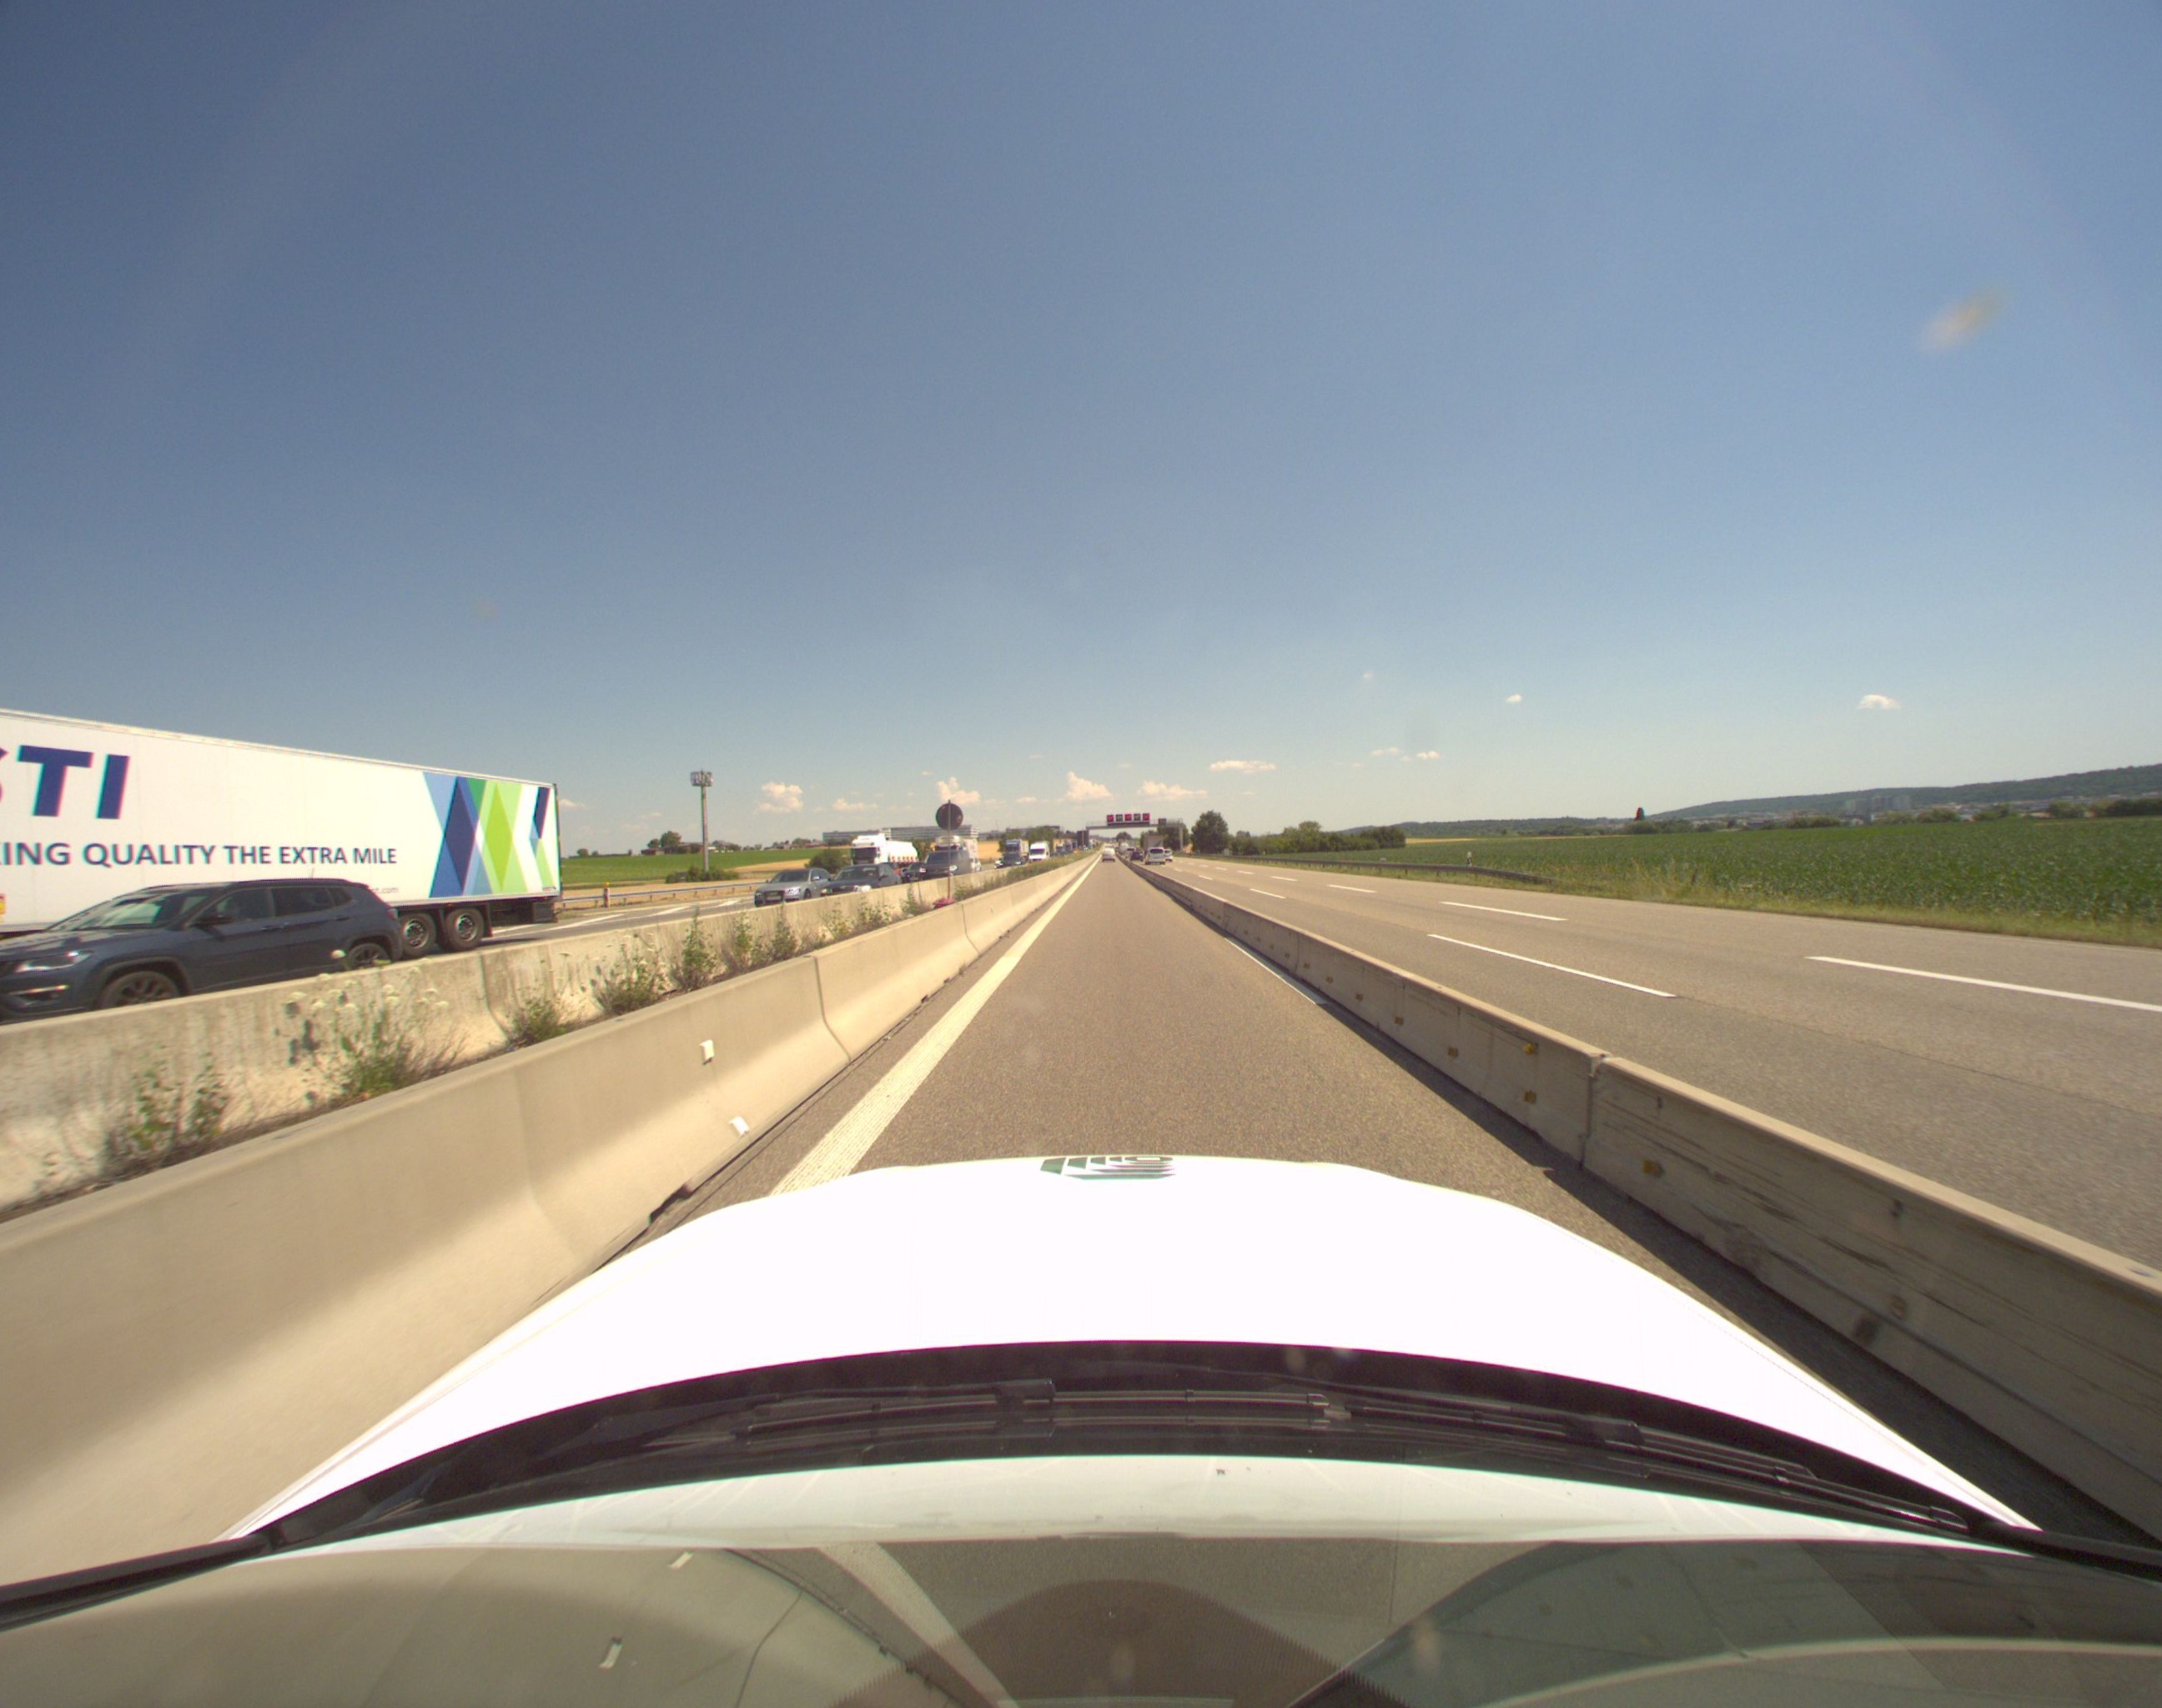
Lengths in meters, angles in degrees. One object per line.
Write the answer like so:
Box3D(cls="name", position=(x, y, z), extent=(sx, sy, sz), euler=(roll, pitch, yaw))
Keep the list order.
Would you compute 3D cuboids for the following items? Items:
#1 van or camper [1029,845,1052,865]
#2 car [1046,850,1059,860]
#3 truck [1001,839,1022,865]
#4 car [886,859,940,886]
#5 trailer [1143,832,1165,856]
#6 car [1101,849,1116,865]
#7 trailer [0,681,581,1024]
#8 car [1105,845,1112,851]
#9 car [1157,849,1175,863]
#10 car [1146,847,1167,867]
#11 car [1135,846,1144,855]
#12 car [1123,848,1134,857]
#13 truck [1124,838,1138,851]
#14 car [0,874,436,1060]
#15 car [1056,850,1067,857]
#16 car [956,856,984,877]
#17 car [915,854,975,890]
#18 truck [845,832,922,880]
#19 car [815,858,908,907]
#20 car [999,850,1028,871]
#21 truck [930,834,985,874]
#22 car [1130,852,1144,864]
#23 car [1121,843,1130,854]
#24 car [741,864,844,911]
Box3D(cls="van or camper", position=(-4.583, 0.081, 92.536), extent=(2.028, 2.221, 7.210), euler=(-1, 0, 1))
Box3D(cls="car", position=(-4.476, 0.084, 127.856), extent=(1.592, 1.469, 4.534), euler=(-2, 0, 1))
Box3D(cls="truck", position=(-11.525, -0.414, 135.112), extent=(2.800, 4.128, 4.843), euler=(-2, 0, 1))
Box3D(cls="car", position=(-9.981, 1.087, 48.772), extent=(2.006, 1.386, 5.087), euler=(-2, 0, 1))
Box3D(cls="trailer", position=(12.515, -1.604, 140.345), extent=(3.265, 3.967, 9.116), euler=(-1, 0, 2))
Box3D(cls="car", position=(3.723, 0.370, 109.375), extent=(1.986, 2.014, 4.001), euler=(-1, 0, 2))
Box3D(cls="trailer", position=(-15.032, 0.046, 15.112), extent=(2.882, 4.375, 12.998), euler=(-4, 0, 2))
Box3D(cls="car", position=(8.333, -1.772, 248.274), extent=(1.986, 1.835, 4.002), euler=(-1, 0, 2))
Box3D(cls="car", position=(11.101, 0.308, 106.879), extent=(1.986, 1.794, 4.001), euler=(-1, 0, 2))
Box3D(cls="car", position=(8.165, 0.362, 88.735), extent=(1.986, 2.120, 4.001), euler=(-1, 0, 2))
Box3D(cls="car", position=(14.083, -0.825, 195.494), extent=(1.986, 2.014, 4.001), euler=(-1, 0, 2))
Box3D(cls="car", position=(8.501, -0.278, 146.143), extent=(1.767, 1.447, 4.001), euler=(-1, 0, 2))
Box3D(cls="truck", position=(16.253, -3.133, 265.320), extent=(3.802, 3.904, 9.583), euler=(-2, 0, 1))
Box3D(cls="car", position=(-10.835, 1.165, 10.184), extent=(1.649, 1.651, 4.667), euler=(-1, 0, 2))
Box3D(cls="car", position=(-3.652, -0.099, 152.811), extent=(1.772, 1.335, 4.931), euler=(-1, -1, 1))
Box3D(cls="car", position=(-9.227, 0.988, 68.034), extent=(1.552, 1.622, 4.048), euler=(-2, 0, 3))
Box3D(cls="car", position=(-6.500, 0.809, 39.505), extent=(1.836, 1.569, 5.347), euler=(-1, 0, 2))
Box3D(cls="truck", position=(-17.791, 0.151, 74.532), extent=(2.887, 3.776, 13.299), euler=(-4, 0, 3))
Box3D(cls="car", position=(-6.911, 0.861, 26.060), extent=(1.649, 1.351, 4.269), euler=(-1, 0, 2))
Box3D(cls="car", position=(-5.418, 0.479, 65.919), extent=(1.775, 1.589, 4.543), euler=(-1, 0, 2))
Box3D(cls="truck", position=(-12.259, -0.021, 82.455), extent=(2.784, 3.609, 13.296), euler=(-4, 0, 2))
Box3D(cls="car", position=(7.672, 0.544, 111.472), extent=(1.767, 1.447, 4.001), euler=(-1, 0, 2))
Box3D(cls="car", position=(10.252, -1.322, 187.954), extent=(1.767, 2.392, 4.001), euler=(-1, 0, 2))
Box3D(cls="car", position=(-10.482, 1.161, 30.010), extent=(1.839, 1.482, 4.924), euler=(-1, 0, 2))
